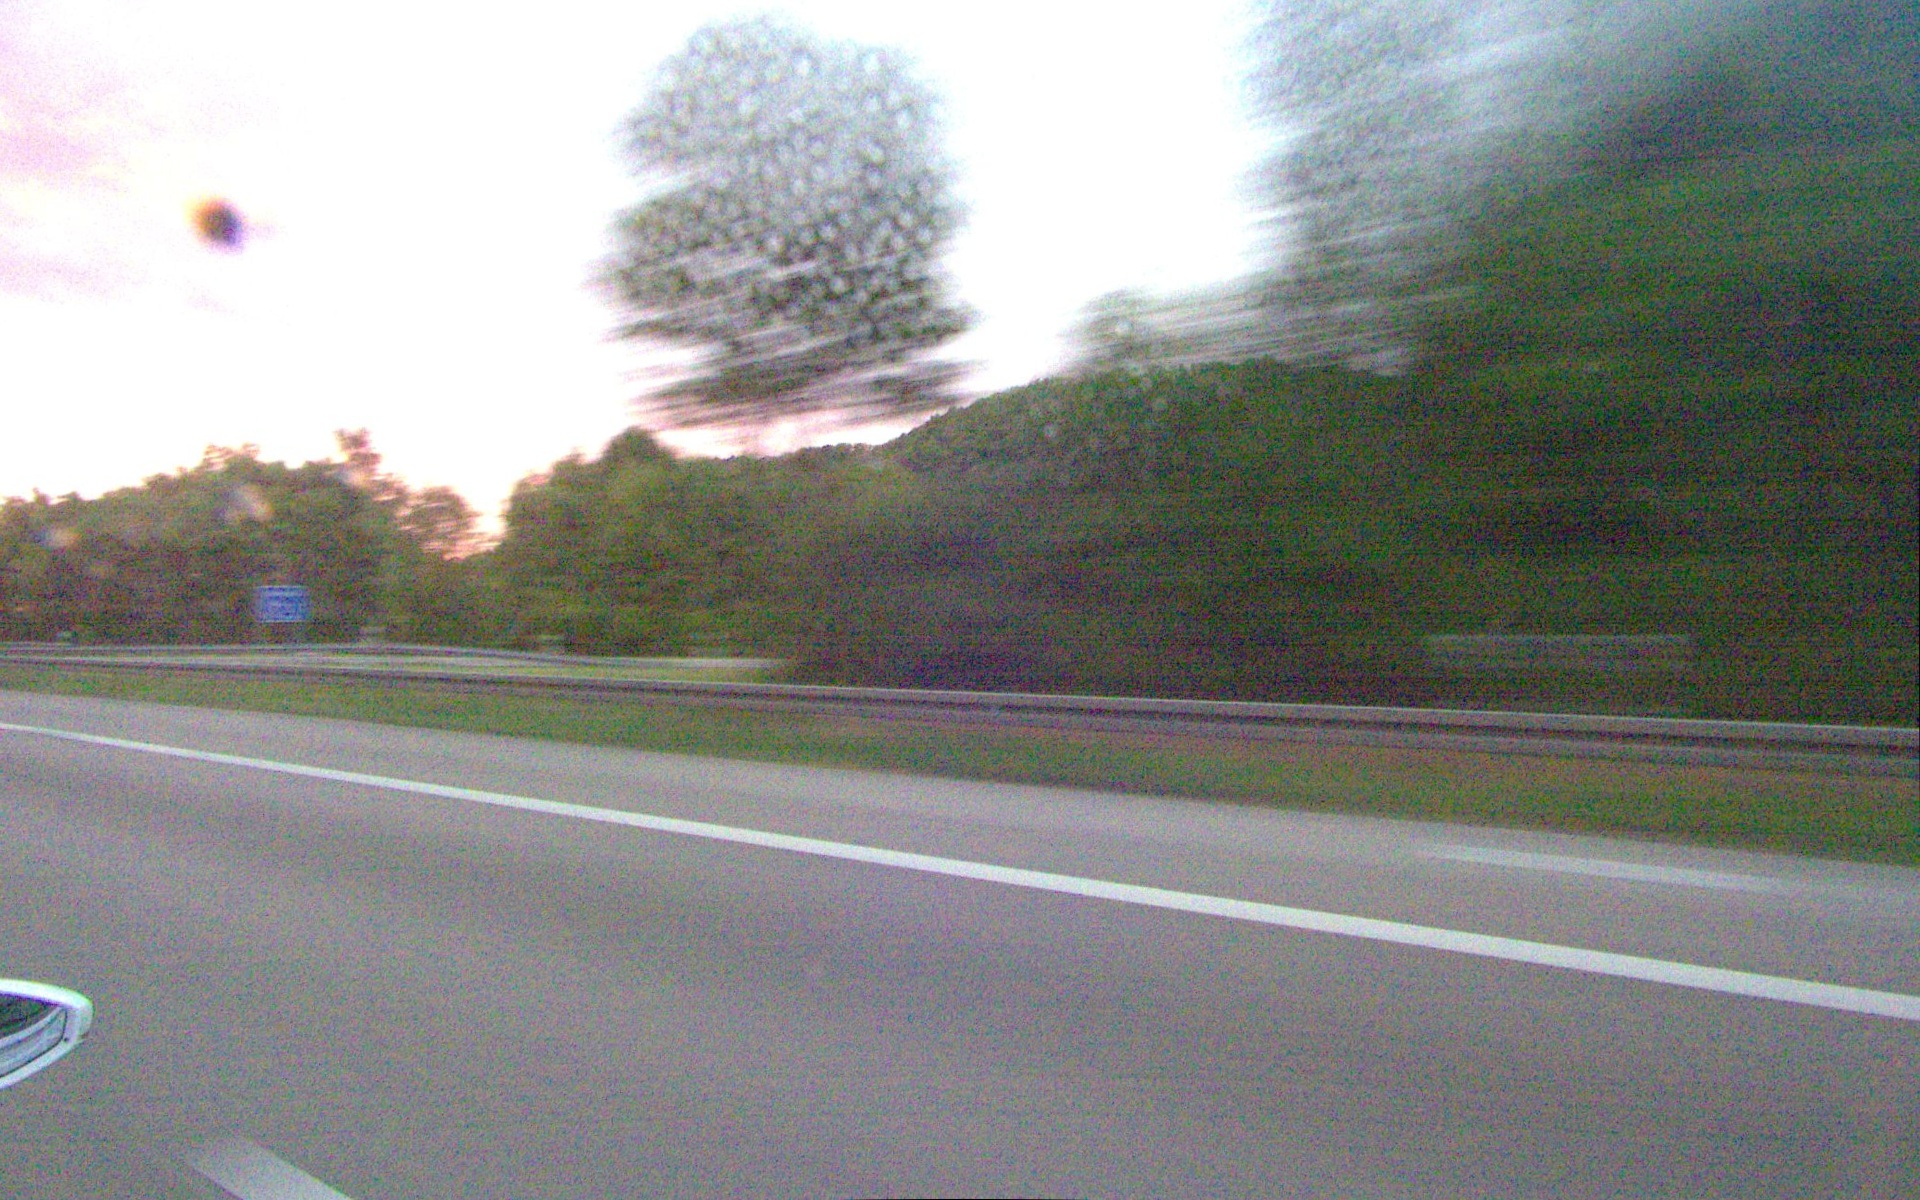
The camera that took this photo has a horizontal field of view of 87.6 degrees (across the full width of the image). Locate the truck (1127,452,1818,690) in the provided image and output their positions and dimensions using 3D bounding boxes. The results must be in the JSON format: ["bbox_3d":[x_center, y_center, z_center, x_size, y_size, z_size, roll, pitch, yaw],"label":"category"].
[{"bbox_3d":[9.585,-0.366,20.562,11.797,3.968,2.837,-1,0,26],"label":"truck"}]

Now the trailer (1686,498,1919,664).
[{"bbox_3d":[25.729,-0.502,23.830,13.375,3.968,2.834,-1,0,30],"label":"trailer"}]
